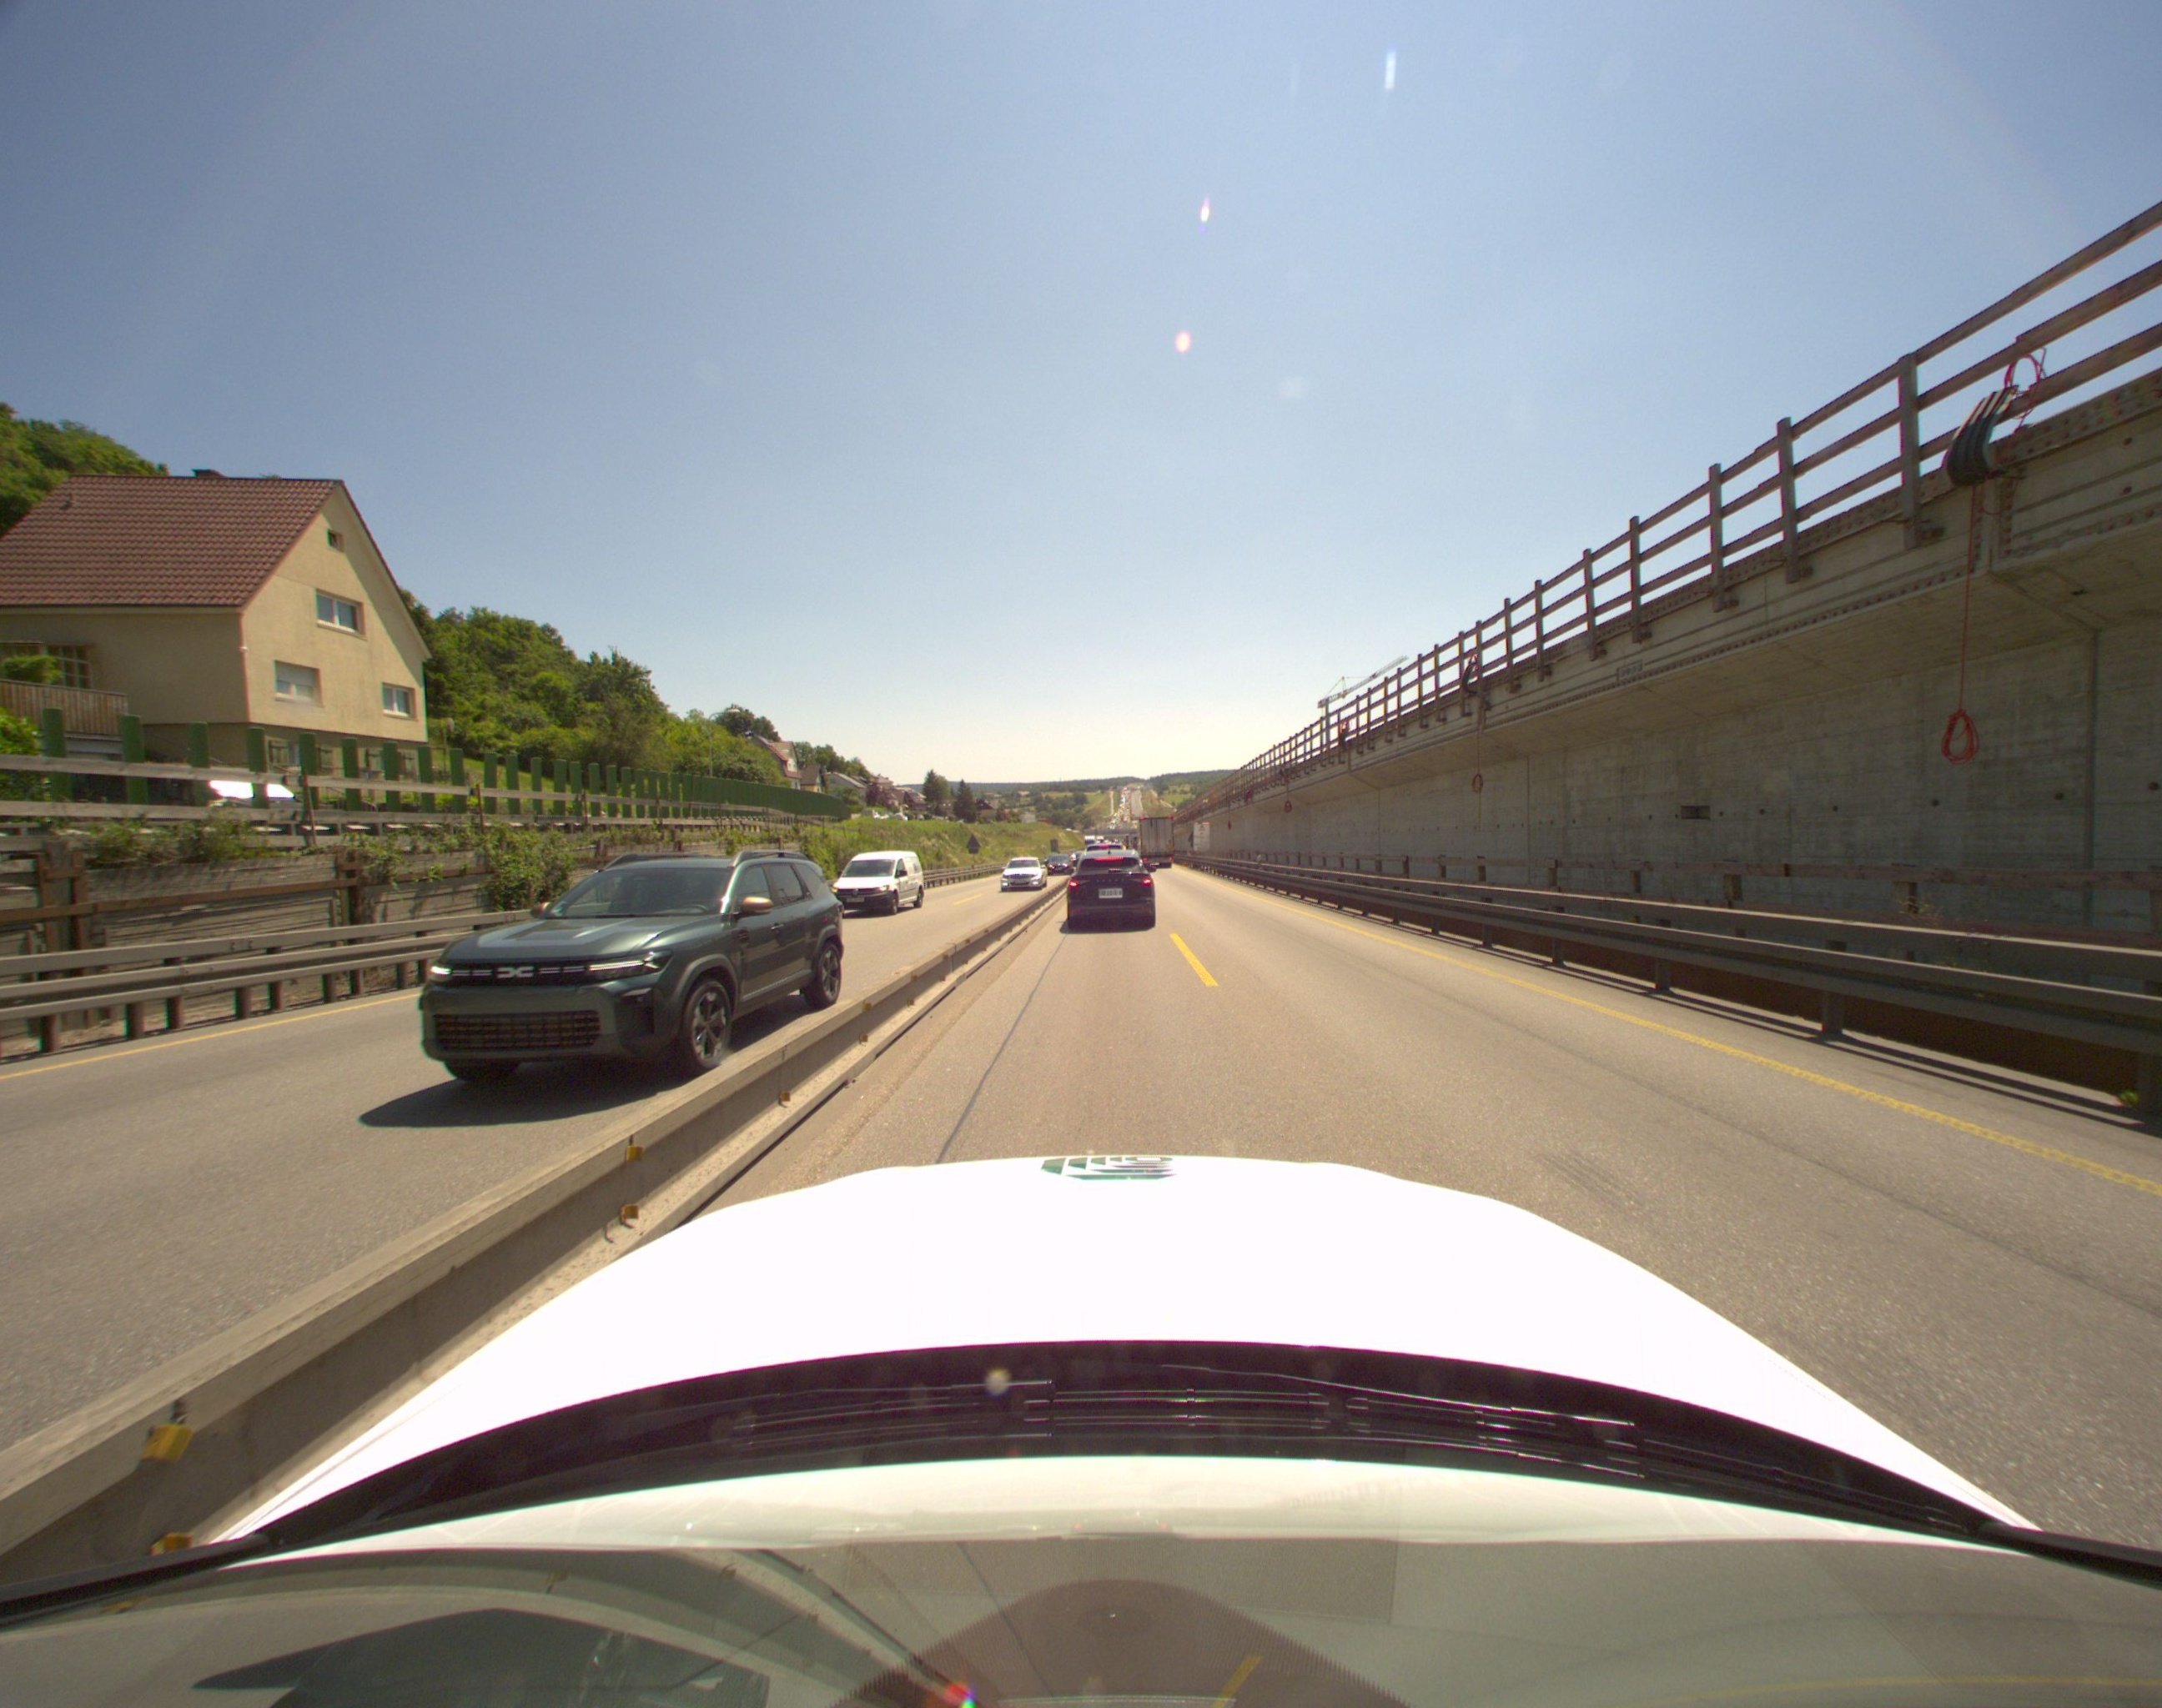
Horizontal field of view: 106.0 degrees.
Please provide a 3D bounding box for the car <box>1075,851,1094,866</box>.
[{"bbox_3d":[0.404,0.513,86.530,1.835,1.530,4.296,-2,-1,2],"label":"car"}]

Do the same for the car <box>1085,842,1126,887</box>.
[{"bbox_3d":[1.060,0.444,36.718,1.743,1.895,3.755,0,0,0],"label":"car"}]

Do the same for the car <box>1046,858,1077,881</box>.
[{"bbox_3d":[-1.359,1.122,58.090,1.598,1.446,4.676,-5,-1,5],"label":"car"}]

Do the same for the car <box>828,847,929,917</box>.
[{"bbox_3d":[-5.907,0.785,24.381,1.590,1.834,4.755,-2,-1,2],"label":"car"}]

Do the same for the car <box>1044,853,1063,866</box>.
[{"bbox_3d":[-3.071,0.591,91.696,1.807,1.448,5.008,0,-1,1],"label":"car"}]

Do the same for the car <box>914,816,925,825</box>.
[{"bbox_3d":[-34.238,-7.020,172.297,1.924,1.728,3.989,-2,0,-8],"label":"car"}]

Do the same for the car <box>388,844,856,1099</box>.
[{"bbox_3d":[-3.558,0.762,7.351,1.768,1.633,4.102,-1,0,2],"label":"car"}]

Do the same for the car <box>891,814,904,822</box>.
[{"bbox_3d":[-34.327,-6.723,152.642,1.992,1.319,3.989,1,0,-8],"label":"car"}]

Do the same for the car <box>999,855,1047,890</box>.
[{"bbox_3d":[-2.539,0.785,36.347,1.726,1.437,4.260,0,-1,1],"label":"car"}]

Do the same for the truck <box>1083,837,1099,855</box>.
[{"bbox_3d":[2.403,-2.019,200.163,3.175,4.238,6.474,-2,-1,-4],"label":"truck"}]

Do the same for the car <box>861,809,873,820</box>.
[{"bbox_3d":[-31.787,-5.881,120.975,1.731,1.398,3.781,0,0,-16],"label":"car"}]

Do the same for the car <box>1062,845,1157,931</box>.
[{"bbox_3d":[0.610,0.665,17.738,1.776,1.597,3.756,-2,0,2],"label":"car"}]

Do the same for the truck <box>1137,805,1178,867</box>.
[{"bbox_3d":[6.281,-1.329,68.423,2.834,4.615,11.820,-2,-1,3],"label":"truck"}]
